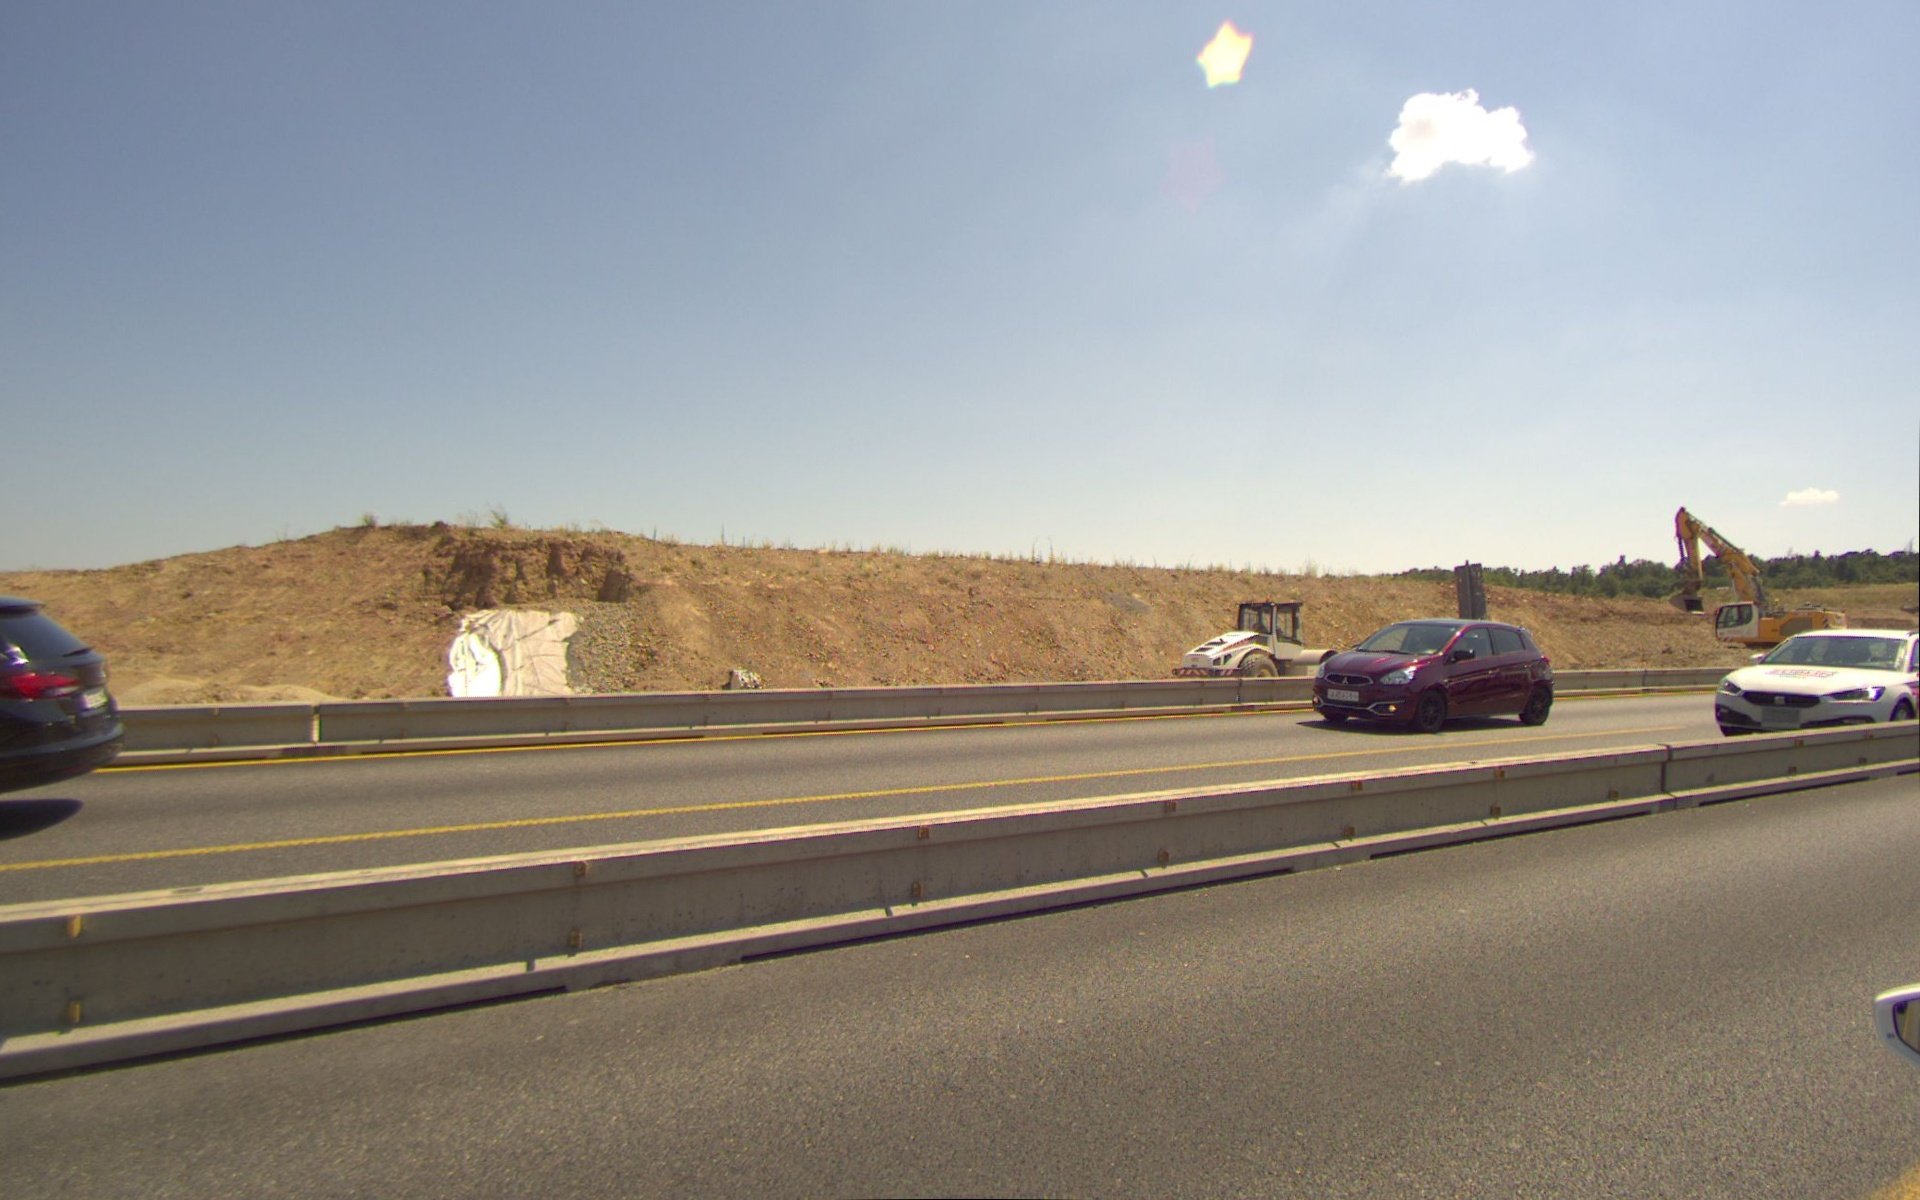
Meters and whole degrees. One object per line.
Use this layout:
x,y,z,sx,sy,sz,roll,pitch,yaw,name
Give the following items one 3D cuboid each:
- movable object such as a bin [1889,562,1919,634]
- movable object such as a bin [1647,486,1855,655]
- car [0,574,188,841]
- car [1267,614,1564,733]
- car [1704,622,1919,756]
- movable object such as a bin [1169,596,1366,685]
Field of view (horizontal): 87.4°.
102.669,-0.271,97.215,3.574,7.327,18.619,1,-1,-30,movable object such as a bin
39.728,-1.289,50.779,3.402,7.816,7.608,1,-1,-27,movable object such as a bin
-7.402,0.592,5.705,4.521,1.520,1.852,1,-1,-30,car
6.409,0.948,14.024,4.176,1.461,1.645,1,-1,-29,car
11.713,1.047,13.068,4.618,1.461,1.670,1,-1,-31,car
9.500,1.210,30.728,6.664,2.493,1.694,1,-1,-30,movable object such as a bin
